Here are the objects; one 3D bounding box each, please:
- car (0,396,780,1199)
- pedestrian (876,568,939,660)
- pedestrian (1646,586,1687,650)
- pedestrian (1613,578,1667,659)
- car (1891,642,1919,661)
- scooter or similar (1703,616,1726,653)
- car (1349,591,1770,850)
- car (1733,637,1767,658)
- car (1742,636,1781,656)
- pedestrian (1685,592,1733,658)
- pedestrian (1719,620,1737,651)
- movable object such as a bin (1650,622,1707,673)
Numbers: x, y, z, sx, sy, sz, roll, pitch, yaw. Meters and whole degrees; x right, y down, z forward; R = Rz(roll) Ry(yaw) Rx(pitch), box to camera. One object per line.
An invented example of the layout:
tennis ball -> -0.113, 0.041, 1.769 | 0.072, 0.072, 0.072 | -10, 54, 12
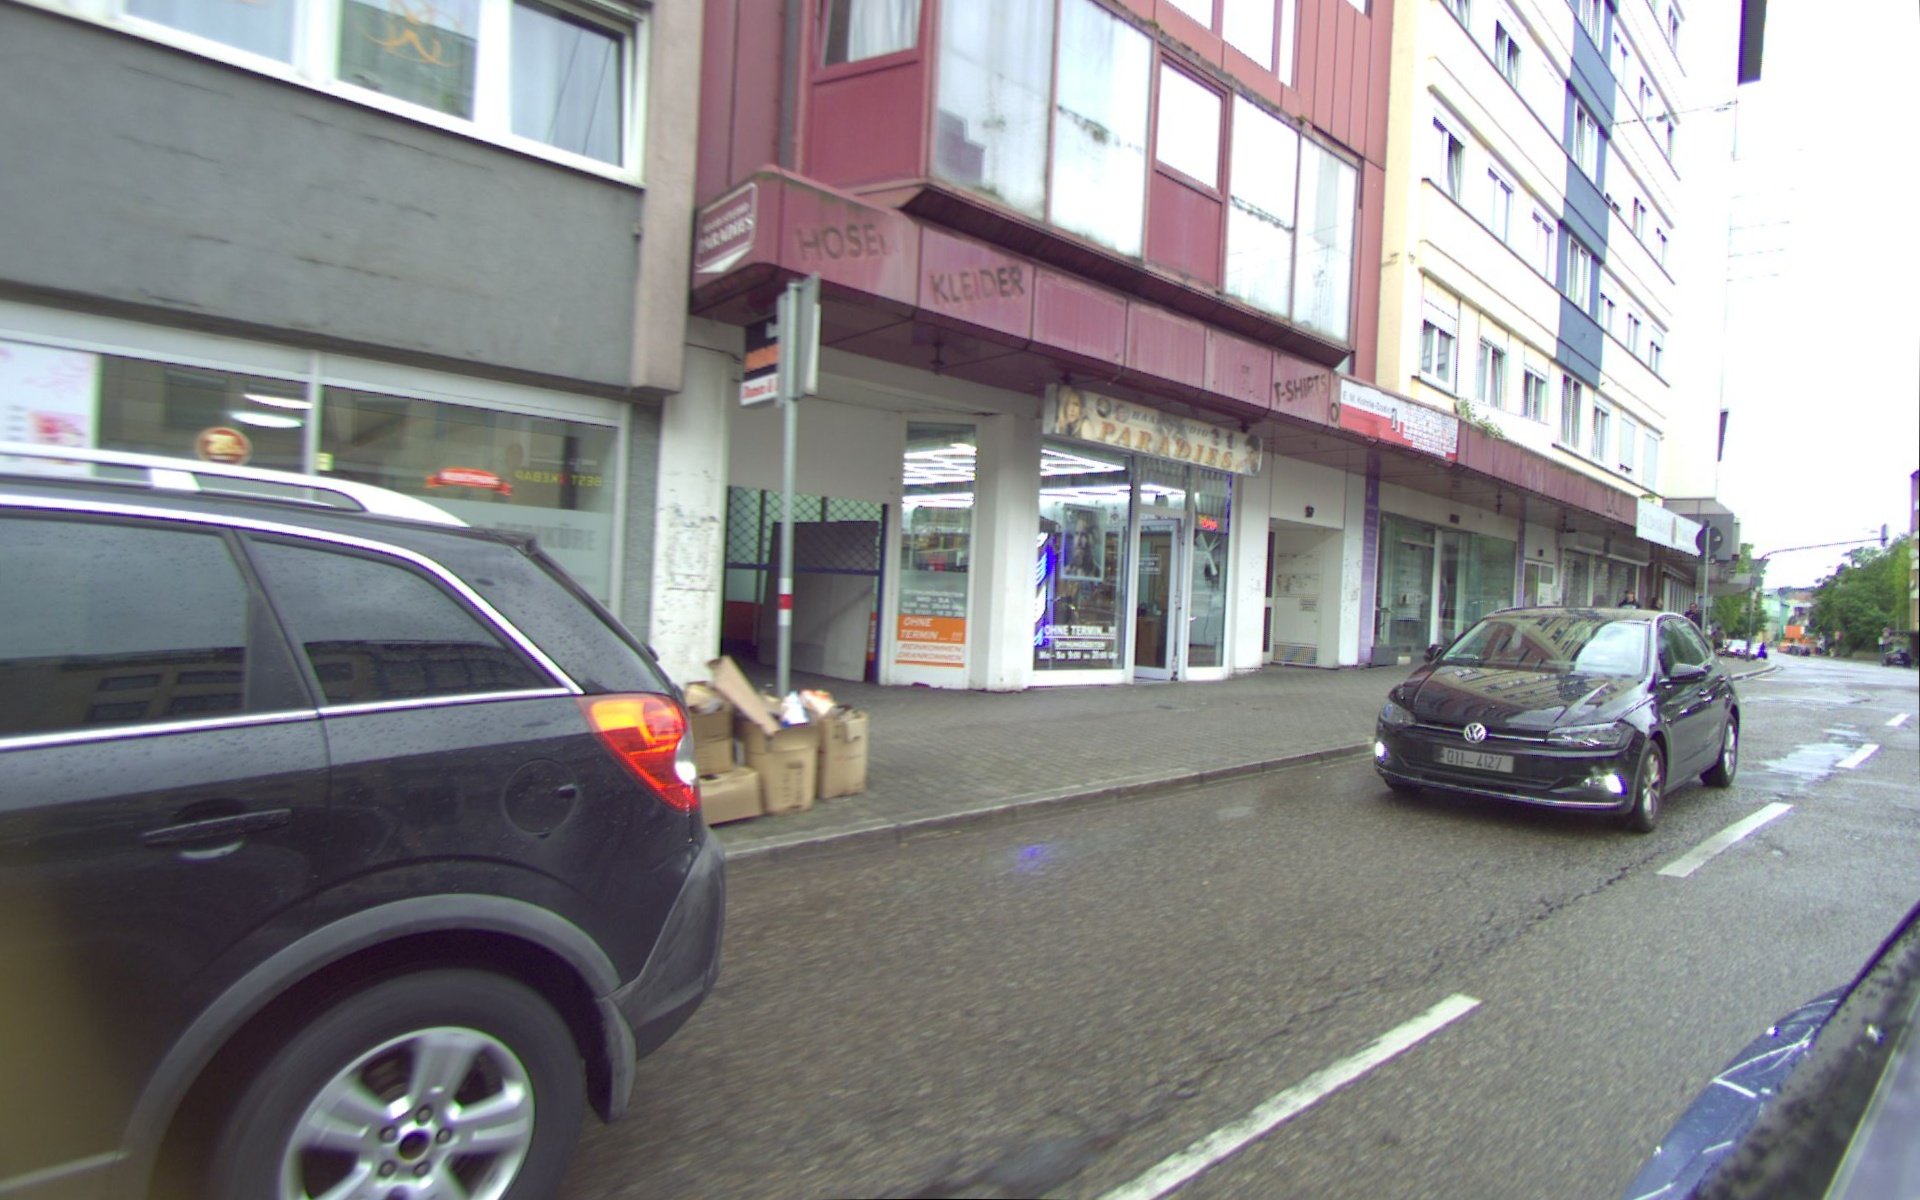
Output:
car -> -2.690, 0.556, 1.862 | 4.223, 1.808, 1.911 | 2, -1, -39
pedestrian -> -0.854, 0.219, 16.428 | 0.691, 1.447, 0.711 | 1, 1, -40
pedestrian -> 20.065, 0.520, 28.757 | 0.772, 1.786, 0.618 | 2, -2, -20
pedestrian -> 15.994, 0.433, 23.798 | 0.835, 1.786, 0.608 | 6, 1, 41
car -> 86.541, 4.700, 92.488 | 1.819, 1.594, 3.942 | 0, -2, 39
scooter or similar -> 28.520, 1.283, 38.245 | 1.127, 1.377, 0.377 | 1, -1, -37
car -> 4.748, 0.696, 7.787 | 3.814, 1.448, 1.740 | 0, 2, -43
car -> 59.124, 3.544, 75.807 | 1.774, 1.472, 3.948 | 0, -2, 35
car -> 75.974, 4.314, 95.994 | 1.980, 1.640, 4.088 | 1, 0, 25
pedestrian -> 20.263, 0.677, 27.383 | 0.737, 1.745, 0.755 | 2, -2, -20
pedestrian -> 42.190, 1.938, 55.602 | 0.734, 1.667, 0.632 | -1, -2, 39
movable object such as a bin -> 14.589, 0.957, 20.560 | 0.659, 0.945, 0.533 | 4, 3, -6
